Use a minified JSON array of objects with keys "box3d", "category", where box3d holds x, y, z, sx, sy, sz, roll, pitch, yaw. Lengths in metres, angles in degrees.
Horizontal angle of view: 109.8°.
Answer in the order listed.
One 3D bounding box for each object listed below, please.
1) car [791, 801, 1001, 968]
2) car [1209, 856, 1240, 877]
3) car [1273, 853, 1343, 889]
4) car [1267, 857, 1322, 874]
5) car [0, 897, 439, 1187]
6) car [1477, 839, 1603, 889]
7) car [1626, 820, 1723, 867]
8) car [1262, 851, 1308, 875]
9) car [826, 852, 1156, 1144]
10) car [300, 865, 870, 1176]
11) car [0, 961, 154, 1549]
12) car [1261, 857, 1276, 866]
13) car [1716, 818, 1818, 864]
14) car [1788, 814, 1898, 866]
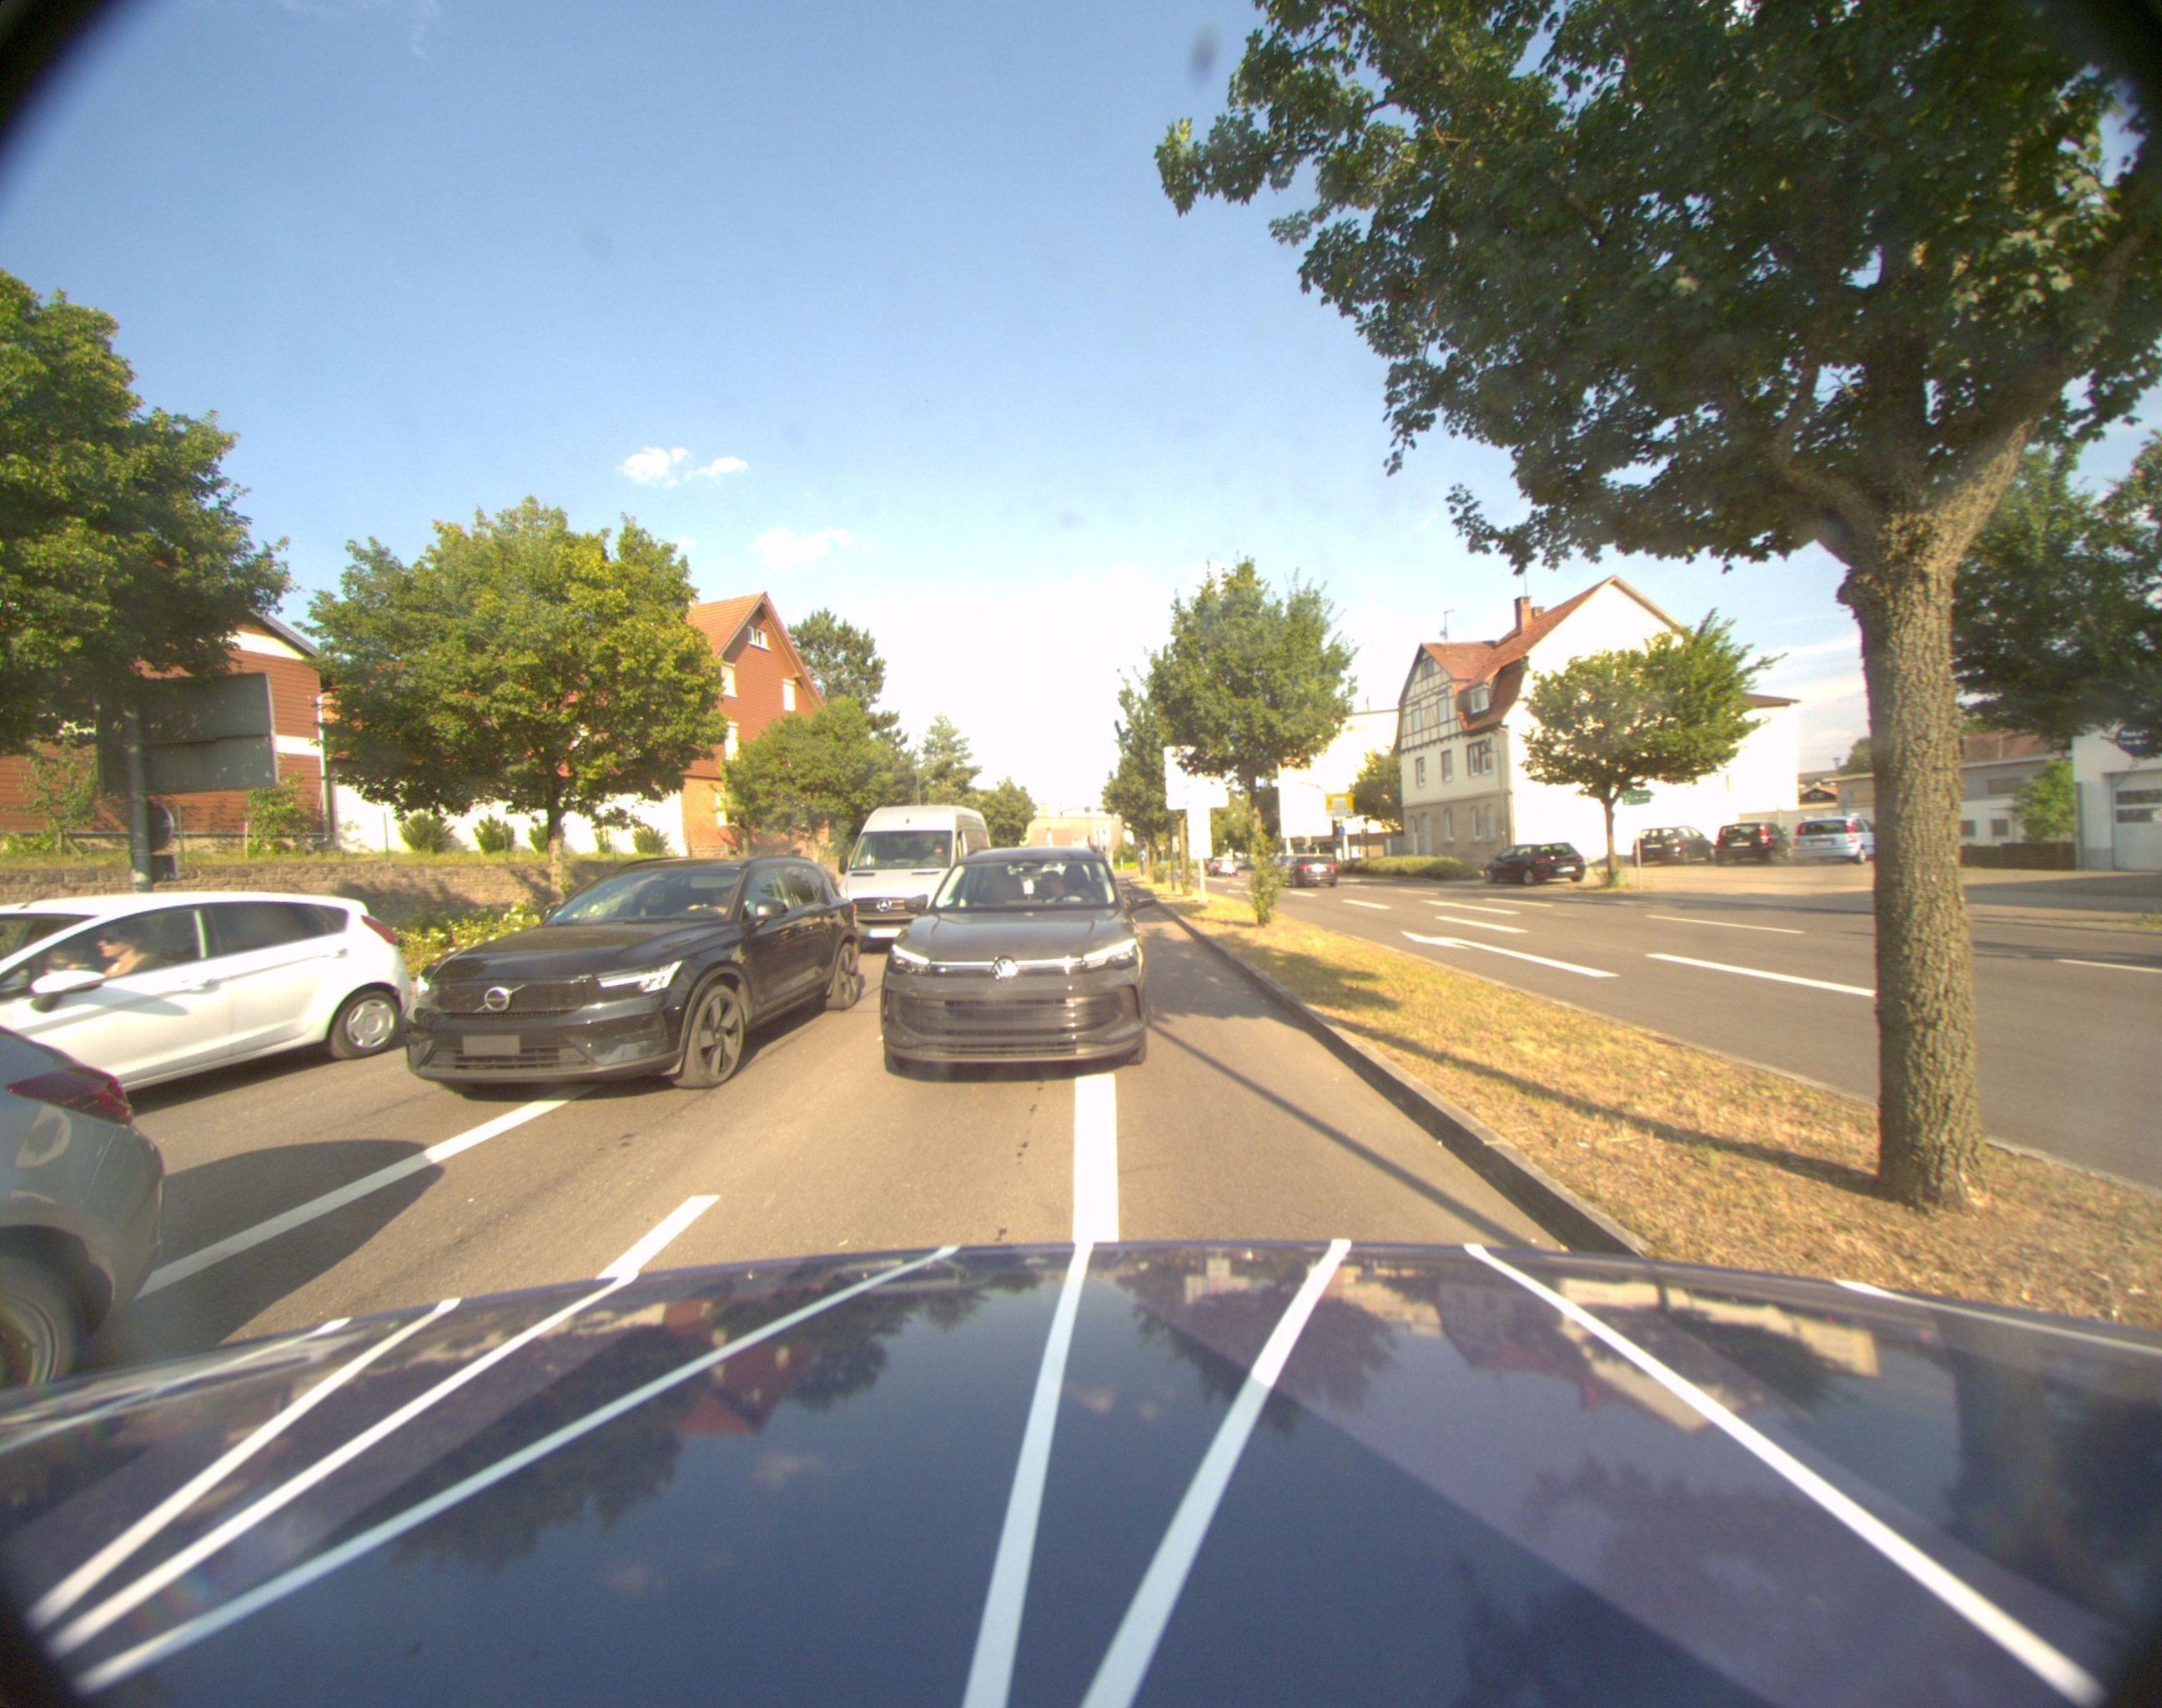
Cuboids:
[{"box3d":[-3.222,0.466,14.969,2.370,2.532,6.192,-2,0,2],"category":"car"},{"box3d":[10.683,0.898,56.810,1.784,1.341,4.479,-2,0,4],"category":"car"},{"box3d":[9.667,0.668,32.647,1.649,1.378,4.189,-2,0,-1],"category":"car"},{"box3d":[19.455,1.087,69.456,4.660,1.346,1.768,-2,1,9],"category":"car"},{"box3d":[-6.880,1.158,5.013,1.733,1.442,4.068,-2,0,1],"category":"car"},{"box3d":[16.004,0.315,26.787,1.839,1.435,4.195,-5,0,1],"category":"car"},{"box3d":[23.364,-0.433,29.875,4.006,1.543,1.764,-4,1,-33],"category":"car"},{"box3d":[13.399,0.581,50.194,1.848,1.413,4.644,-2,0,1],"category":"car"},{"box3d":[-0.475,0.852,6.850,1.894,1.647,4.730,-2,0,1],"category":"car"},{"box3d":[-3.349,0.969,6.312,1.886,1.599,4.128,-2,0,2],"category":"car"},{"box3d":[-3.620,1.069,0.130,1.748,1.433,4.166,-2,0,0],"category":"car"},{"box3d":[31.939,1.249,129.136,1.809,1.488,4.251,-2,0,22],"category":"car"},{"box3d":[24.901,-0.482,27.550,4.006,1.543,1.763,-2,1,-33],"category":"car"},{"box3d":[24.975,-0.481,24.875,4.006,1.543,1.763,-2,1,-33],"category":"car"}]
